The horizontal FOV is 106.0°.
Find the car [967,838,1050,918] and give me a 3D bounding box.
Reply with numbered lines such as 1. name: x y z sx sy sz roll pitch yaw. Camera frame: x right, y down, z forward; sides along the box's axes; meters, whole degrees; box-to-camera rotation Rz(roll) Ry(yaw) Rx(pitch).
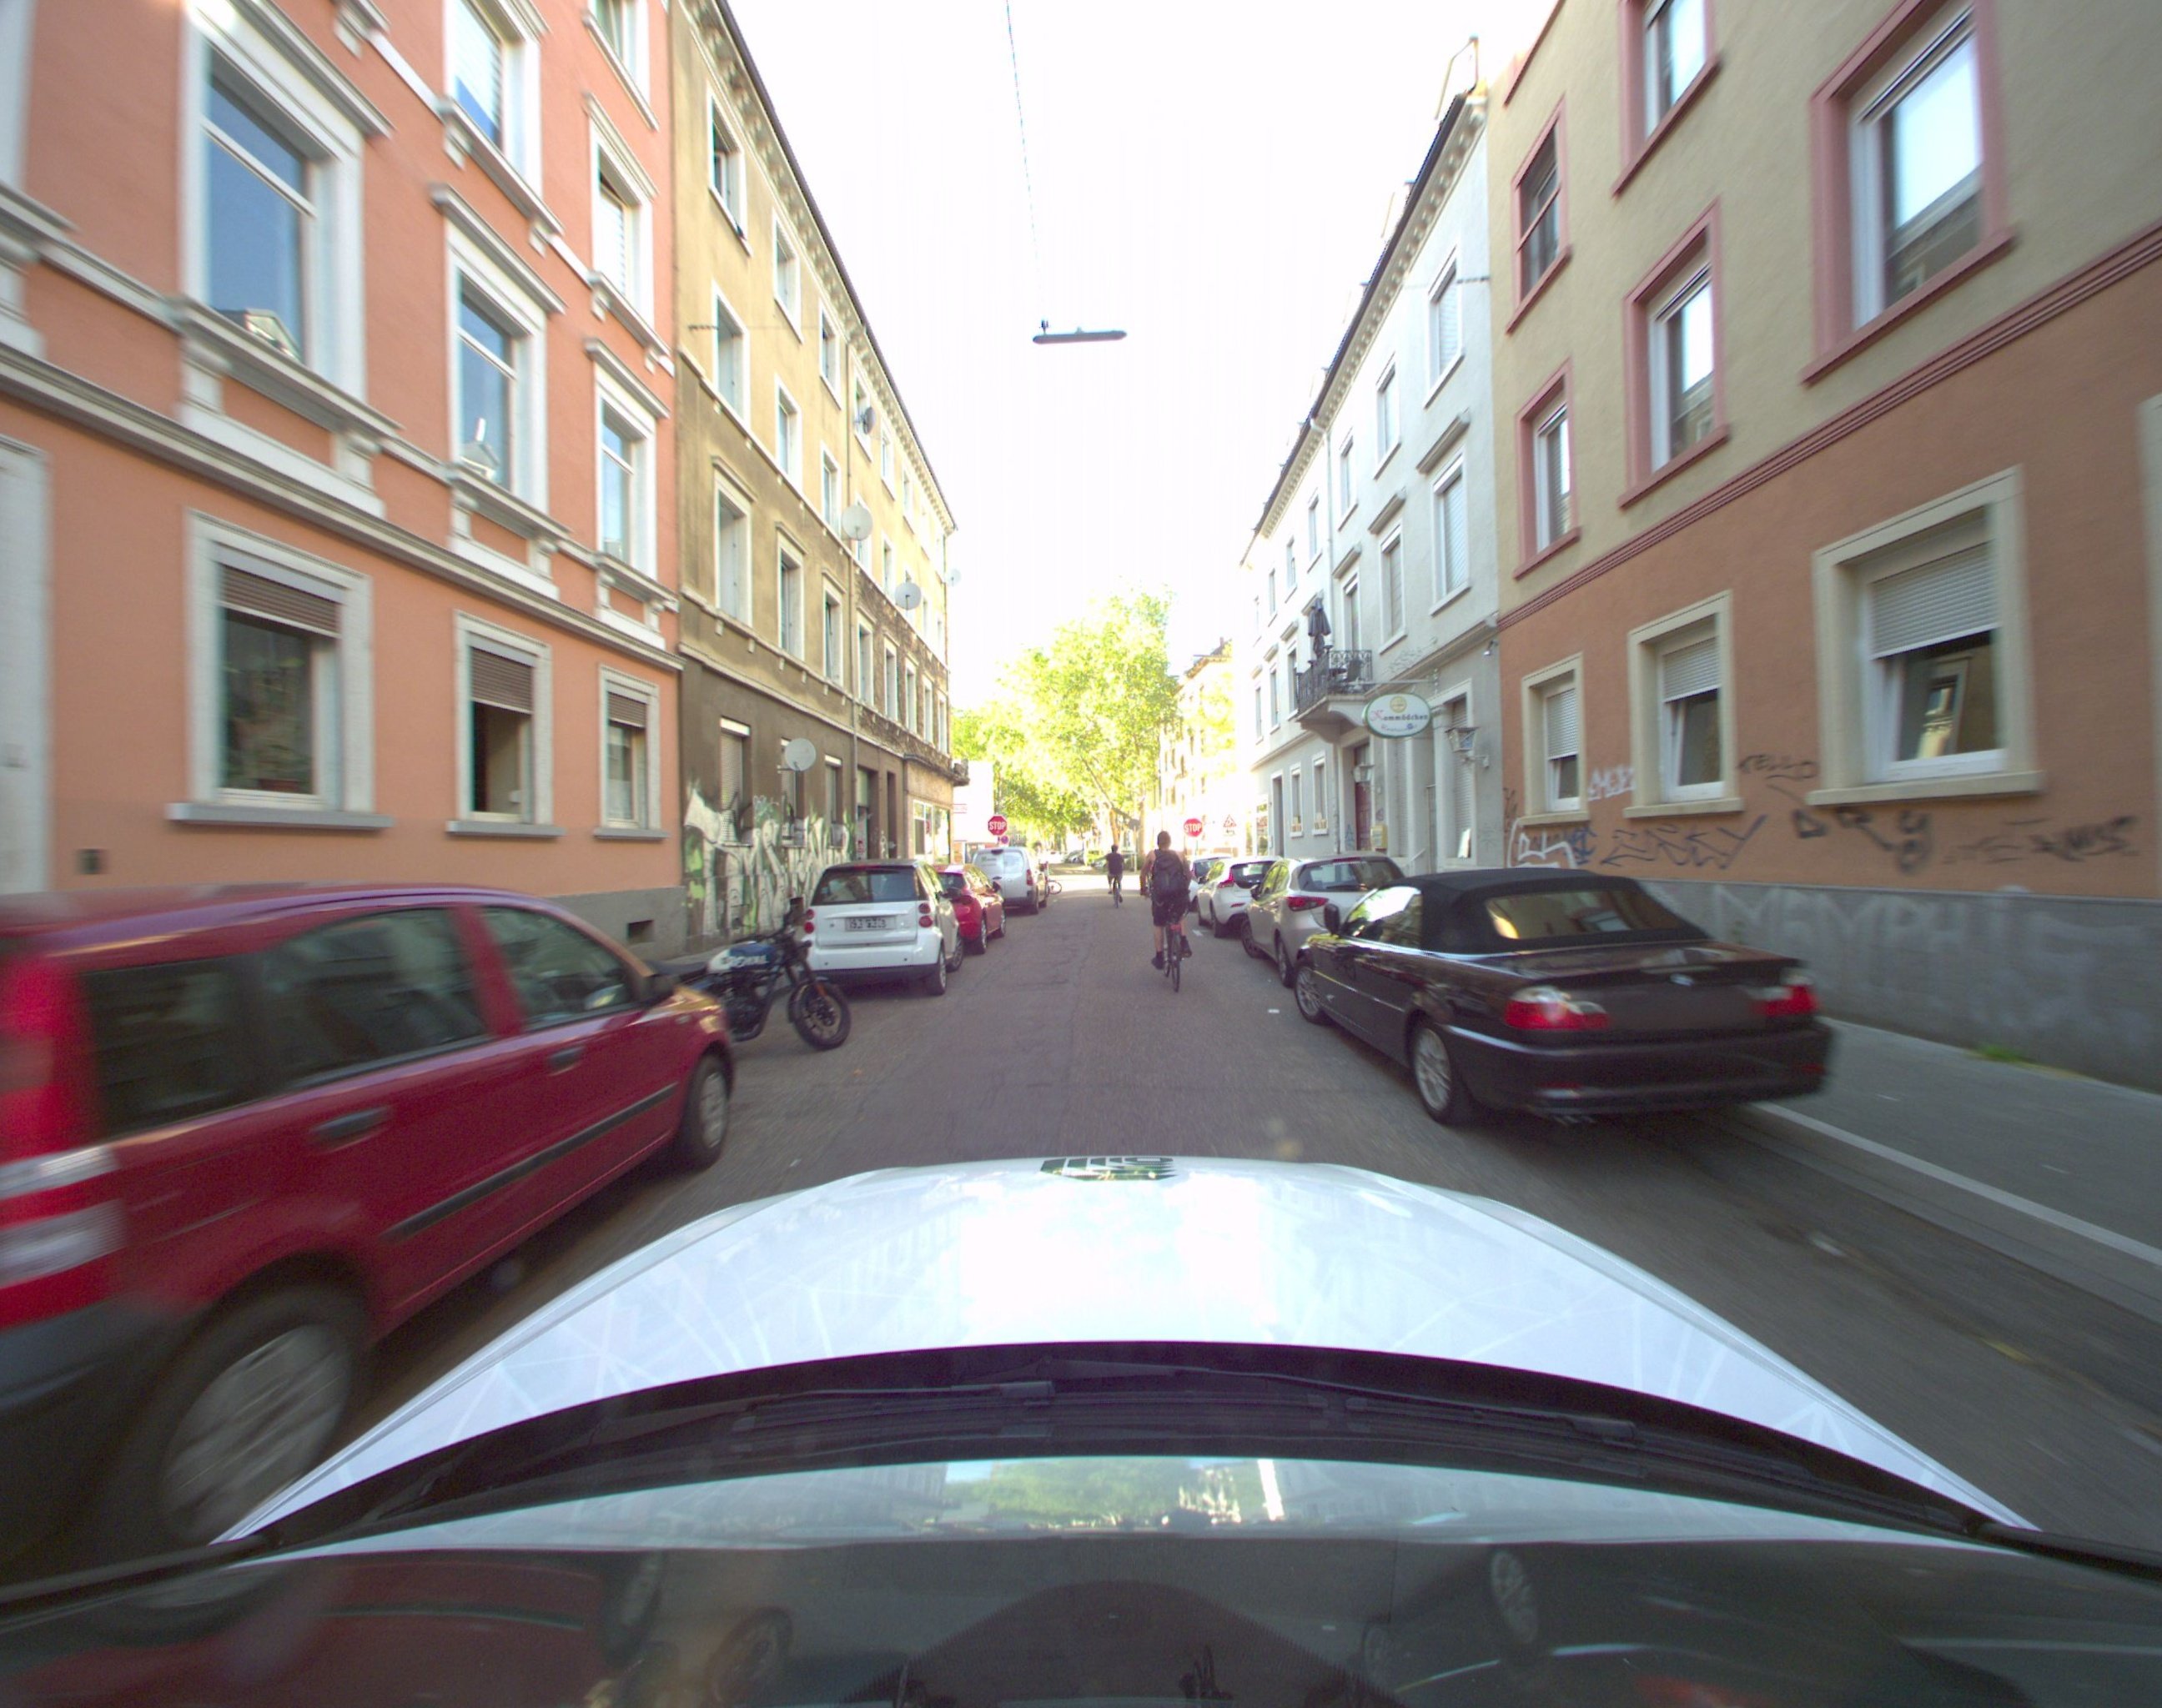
1. car: -1.928 0.603 22.992 1.673 1.910 4.521 -4 0 2

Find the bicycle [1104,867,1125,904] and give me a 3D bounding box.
1. bicycle: 0.968 0.899 23.623 0.550 1.016 1.628 0 -1 1

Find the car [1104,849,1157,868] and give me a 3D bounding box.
1. car: 4.362 0.419 72.148 4.457 1.571 1.724 -1 0 -7

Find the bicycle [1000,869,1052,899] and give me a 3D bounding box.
1. bicycle: -1.912 1.048 28.577 1.759 0.961 0.405 -1 0 0

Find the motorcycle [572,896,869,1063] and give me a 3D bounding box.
1. motorcycle: -2.822 0.939 6.599 2.082 1.128 0.785 0 0 -21

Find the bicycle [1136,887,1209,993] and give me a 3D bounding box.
1. bicycle: 1.018 0.933 9.423 0.687 1.016 1.908 0 0 2

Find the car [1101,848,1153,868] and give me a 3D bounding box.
1. car: 4.166 0.351 74.222 4.457 1.671 1.724 -1 0 -7

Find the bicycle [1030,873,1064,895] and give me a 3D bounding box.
1. bicycle: -1.338 1.196 32.137 1.308 0.818 0.370 -1 0 -9

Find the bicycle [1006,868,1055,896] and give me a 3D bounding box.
1. bicycle: -1.863 1.036 29.992 1.765 0.961 0.479 -1 0 -11

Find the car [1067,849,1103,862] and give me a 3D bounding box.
1. car: 0.488 0.228 106.046 4.457 1.571 1.724 -1 0 -7

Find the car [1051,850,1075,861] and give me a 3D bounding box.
1. car: -3.437 0.279 155.114 4.457 1.898 1.724 -1 0 -7

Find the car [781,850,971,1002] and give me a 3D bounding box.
1. car: -2.395 0.770 10.225 1.675 1.549 2.957 -2 0 -2

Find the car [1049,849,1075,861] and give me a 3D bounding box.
1. car: -3.459 0.172 146.246 4.457 1.898 1.724 -1 0 -7

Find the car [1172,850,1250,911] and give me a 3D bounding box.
1. car: 3.630 0.697 23.280 1.631 1.587 3.788 0 0 0

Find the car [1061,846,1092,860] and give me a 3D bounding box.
1. car: -0.704 -0.154 120.380 4.457 1.898 1.724 -1 0 -7

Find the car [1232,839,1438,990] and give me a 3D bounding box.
1. car: 3.097 0.640 10.773 1.672 1.597 4.194 0 0 4

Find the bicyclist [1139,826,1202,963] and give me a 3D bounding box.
1. bicyclist: 1.016 0.450 9.349 0.674 1.513 0.669 0 0 1

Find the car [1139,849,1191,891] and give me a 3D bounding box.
1. car: 3.439 0.621 33.948 1.754 1.662 4.197 0 0 0

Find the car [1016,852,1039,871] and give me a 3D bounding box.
1. car: -4.437 0.598 67.348 1.642 1.494 3.990 -4 1 -7

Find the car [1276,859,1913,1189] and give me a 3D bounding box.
1. car: 2.775 0.754 5.791 1.761 1.394 4.495 0 0 1

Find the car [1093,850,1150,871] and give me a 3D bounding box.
1. car: 3.291 0.498 67.195 4.457 1.571 1.724 -1 0 -7

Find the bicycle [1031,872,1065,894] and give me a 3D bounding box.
1. bicycle: -1.292 1.139 31.764 1.308 0.818 0.354 -1 0 -9

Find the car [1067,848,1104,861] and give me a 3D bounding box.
1. car: 0.575 0.052 103.572 4.457 1.571 1.724 -1 0 -7

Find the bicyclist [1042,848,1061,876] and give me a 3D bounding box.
1. bicyclist: -1.790 0.484 48.850 1.095 1.640 0.894 -1 -1 -5

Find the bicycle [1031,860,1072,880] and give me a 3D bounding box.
1. bicycle: -1.774 0.961 48.848 2.419 1.093 0.894 -1 -1 -6

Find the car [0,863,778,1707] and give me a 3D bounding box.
1. car: -2.647 0.819 3.024 1.674 1.492 3.611 -1 0 -1

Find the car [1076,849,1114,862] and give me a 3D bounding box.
1. car: 1.727 0.180 100.476 4.457 1.571 1.724 -1 0 -7

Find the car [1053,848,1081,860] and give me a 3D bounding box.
1. car: -2.332 0.037 135.836 4.457 1.898 1.724 -1 0 -7

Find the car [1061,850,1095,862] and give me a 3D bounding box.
1. car: -0.482 0.249 110.730 4.457 1.571 1.724 -1 0 -7

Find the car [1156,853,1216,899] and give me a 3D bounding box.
1. car: 3.677 0.731 29.042 1.640 1.503 3.954 0 0 0

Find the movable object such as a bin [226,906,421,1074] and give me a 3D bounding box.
1. movable object such as a bin: -5.368 0.929 5.803 0.773 1.049 0.664 1 0 9

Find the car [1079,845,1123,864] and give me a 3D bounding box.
1. car: 2.066 0.042 85.102 4.458 1.836 1.724 -1 0 -7

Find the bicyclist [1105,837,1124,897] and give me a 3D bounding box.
1. bicyclist: 0.957 0.378 23.424 0.540 1.687 0.653 0 -1 0

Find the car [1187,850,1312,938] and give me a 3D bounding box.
1. car: 3.202 0.692 16.233 1.673 1.510 4.190 0 0 1

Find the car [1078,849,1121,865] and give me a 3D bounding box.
1. car: 1.984 0.326 87.116 4.457 1.571 1.724 -1 0 -7

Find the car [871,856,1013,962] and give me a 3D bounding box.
1. car: -2.258 0.829 14.337 1.674 1.473 4.203 -3 0 0
